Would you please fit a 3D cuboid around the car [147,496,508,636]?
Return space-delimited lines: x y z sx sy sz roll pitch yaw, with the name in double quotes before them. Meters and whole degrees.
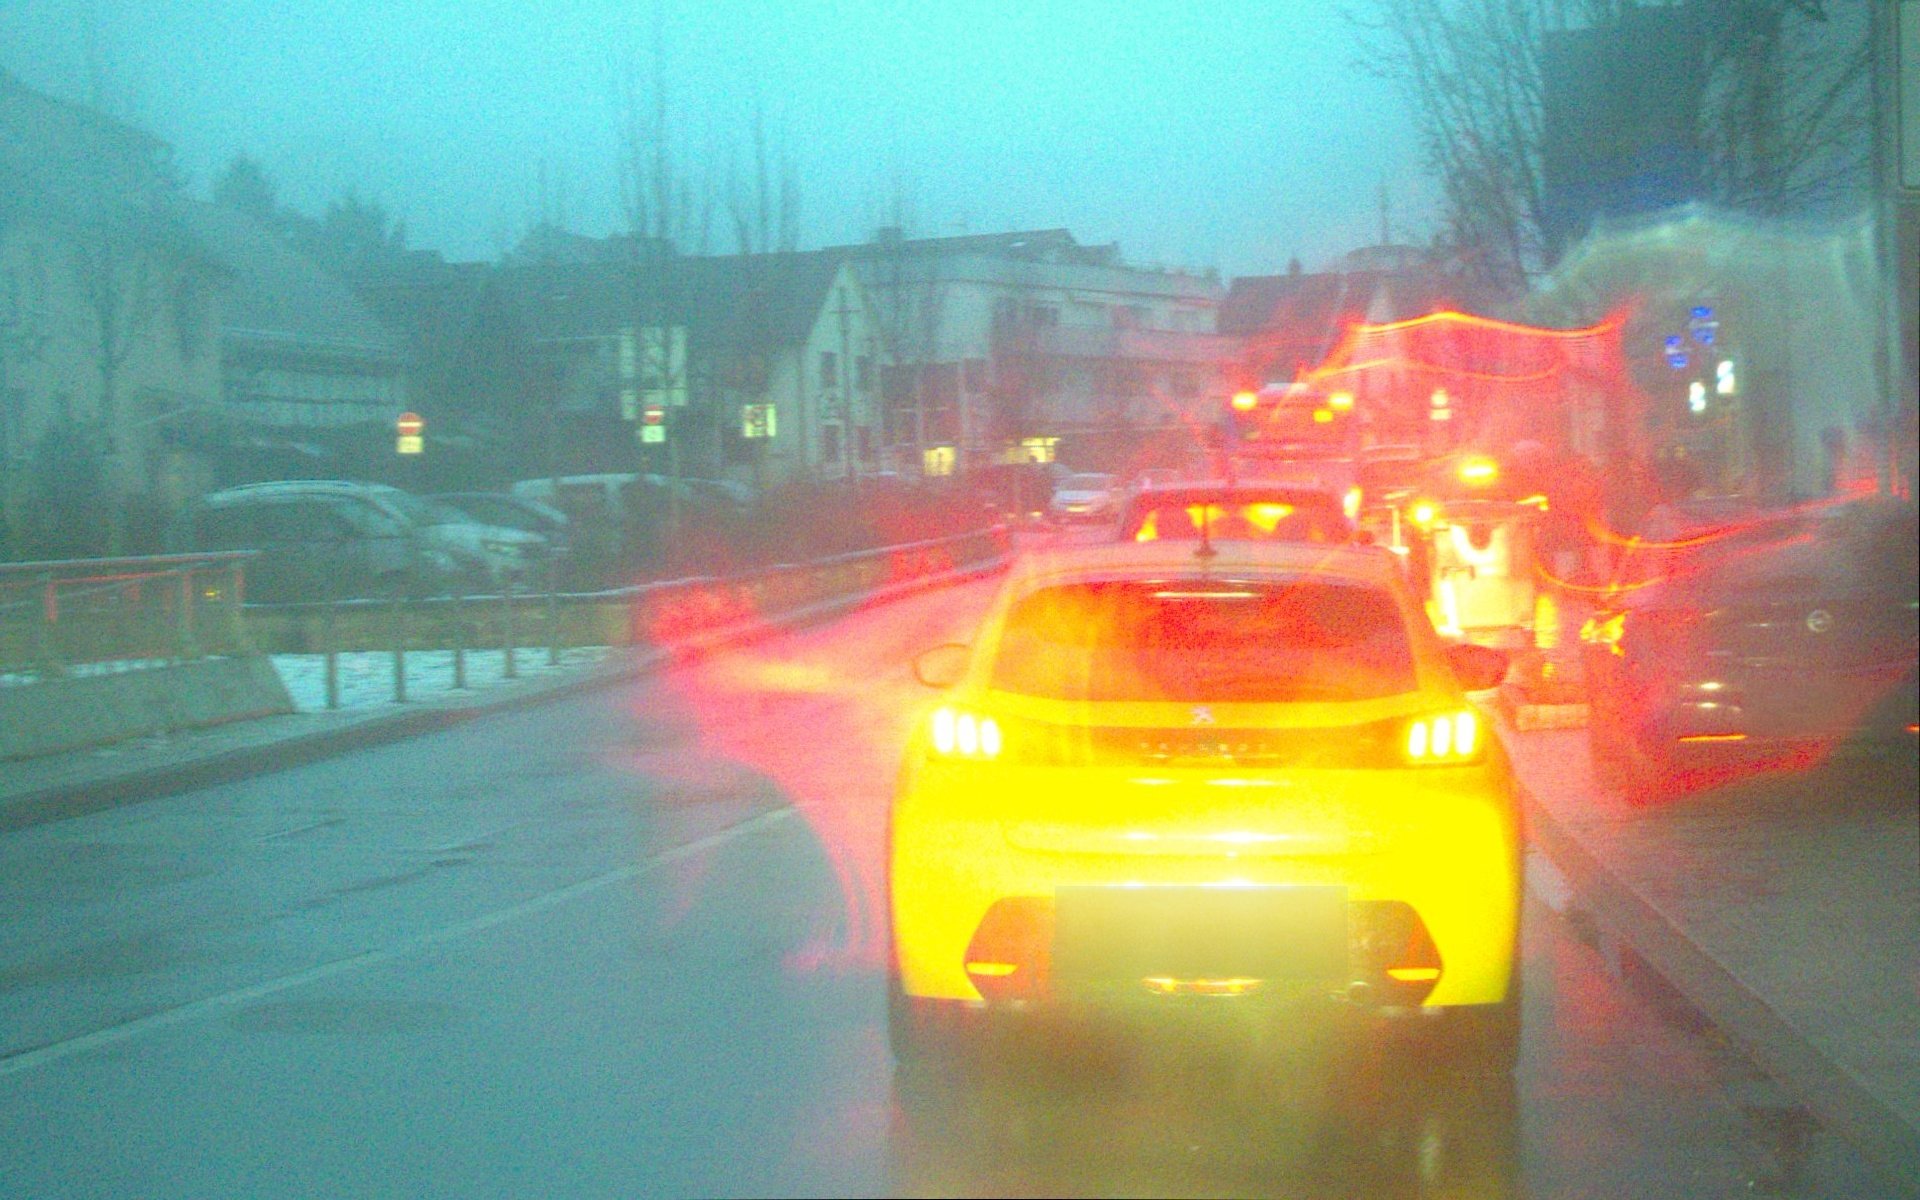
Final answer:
"car" -6.701 -0.377 36.622 3.445 1.367 1.601 -1 2 5

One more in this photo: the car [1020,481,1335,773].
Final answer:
"car" 1.391 0.089 21.226 1.767 1.622 3.585 0 2 5

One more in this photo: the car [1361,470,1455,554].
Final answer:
"car" 10.214 -2.009 78.557 1.998 1.858 4.082 0 1 6

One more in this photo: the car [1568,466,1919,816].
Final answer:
"car" 4.135 0.112 17.630 1.729 1.459 4.198 -4 2 8

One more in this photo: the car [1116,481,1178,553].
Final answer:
"car" 5.994 -2.629 109.775 1.920 2.208 3.975 0 0 4

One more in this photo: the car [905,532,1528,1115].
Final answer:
"car" 0.783 0.531 10.198 1.563 1.407 3.017 0 2 5

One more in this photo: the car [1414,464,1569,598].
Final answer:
"car" 7.158 -0.963 46.656 1.735 1.686 4.386 -1 2 5

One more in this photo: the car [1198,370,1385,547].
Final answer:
"car" 6.114 -2.570 64.291 3.191 3.021 6.304 0 0 3

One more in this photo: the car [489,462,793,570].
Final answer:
"car" -5.108 -1.355 55.529 4.626 1.662 2.000 0 1 3

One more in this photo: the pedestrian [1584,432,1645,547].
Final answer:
"pedestrian" 9.977 -1.691 52.399 0.713 1.709 1.033 -2 2 19

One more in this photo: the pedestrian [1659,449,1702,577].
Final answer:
"pedestrian" 10.211 -1.235 48.734 0.529 1.794 0.864 0 1 15

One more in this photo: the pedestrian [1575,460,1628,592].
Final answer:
"pedestrian" 8.421 -0.976 45.137 0.573 1.694 0.653 -3 1 7

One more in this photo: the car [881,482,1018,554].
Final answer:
"car" -0.345 -2.587 109.297 1.994 2.159 4.384 1 0 -40

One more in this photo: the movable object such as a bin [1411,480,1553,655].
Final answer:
"movable object such as a bin" 4.624 -0.301 30.538 1.129 1.415 1.417 -4 2 8

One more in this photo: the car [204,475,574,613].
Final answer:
"car" -6.505 -0.638 39.307 3.795 1.517 1.714 0 1 12

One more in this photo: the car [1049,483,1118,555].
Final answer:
"car" 3.693 -2.382 102.078 1.920 2.020 3.975 0 0 4

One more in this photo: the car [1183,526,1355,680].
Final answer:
"car" 2.944 -0.013 32.751 1.541 1.327 3.311 0 2 5

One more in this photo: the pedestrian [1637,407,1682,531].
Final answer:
"pedestrian" 9.490 -1.769 46.638 0.529 1.647 0.953 0 0 15

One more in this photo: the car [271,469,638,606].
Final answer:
"car" -6.095 -0.755 41.643 4.095 1.603 1.587 0 1 9
